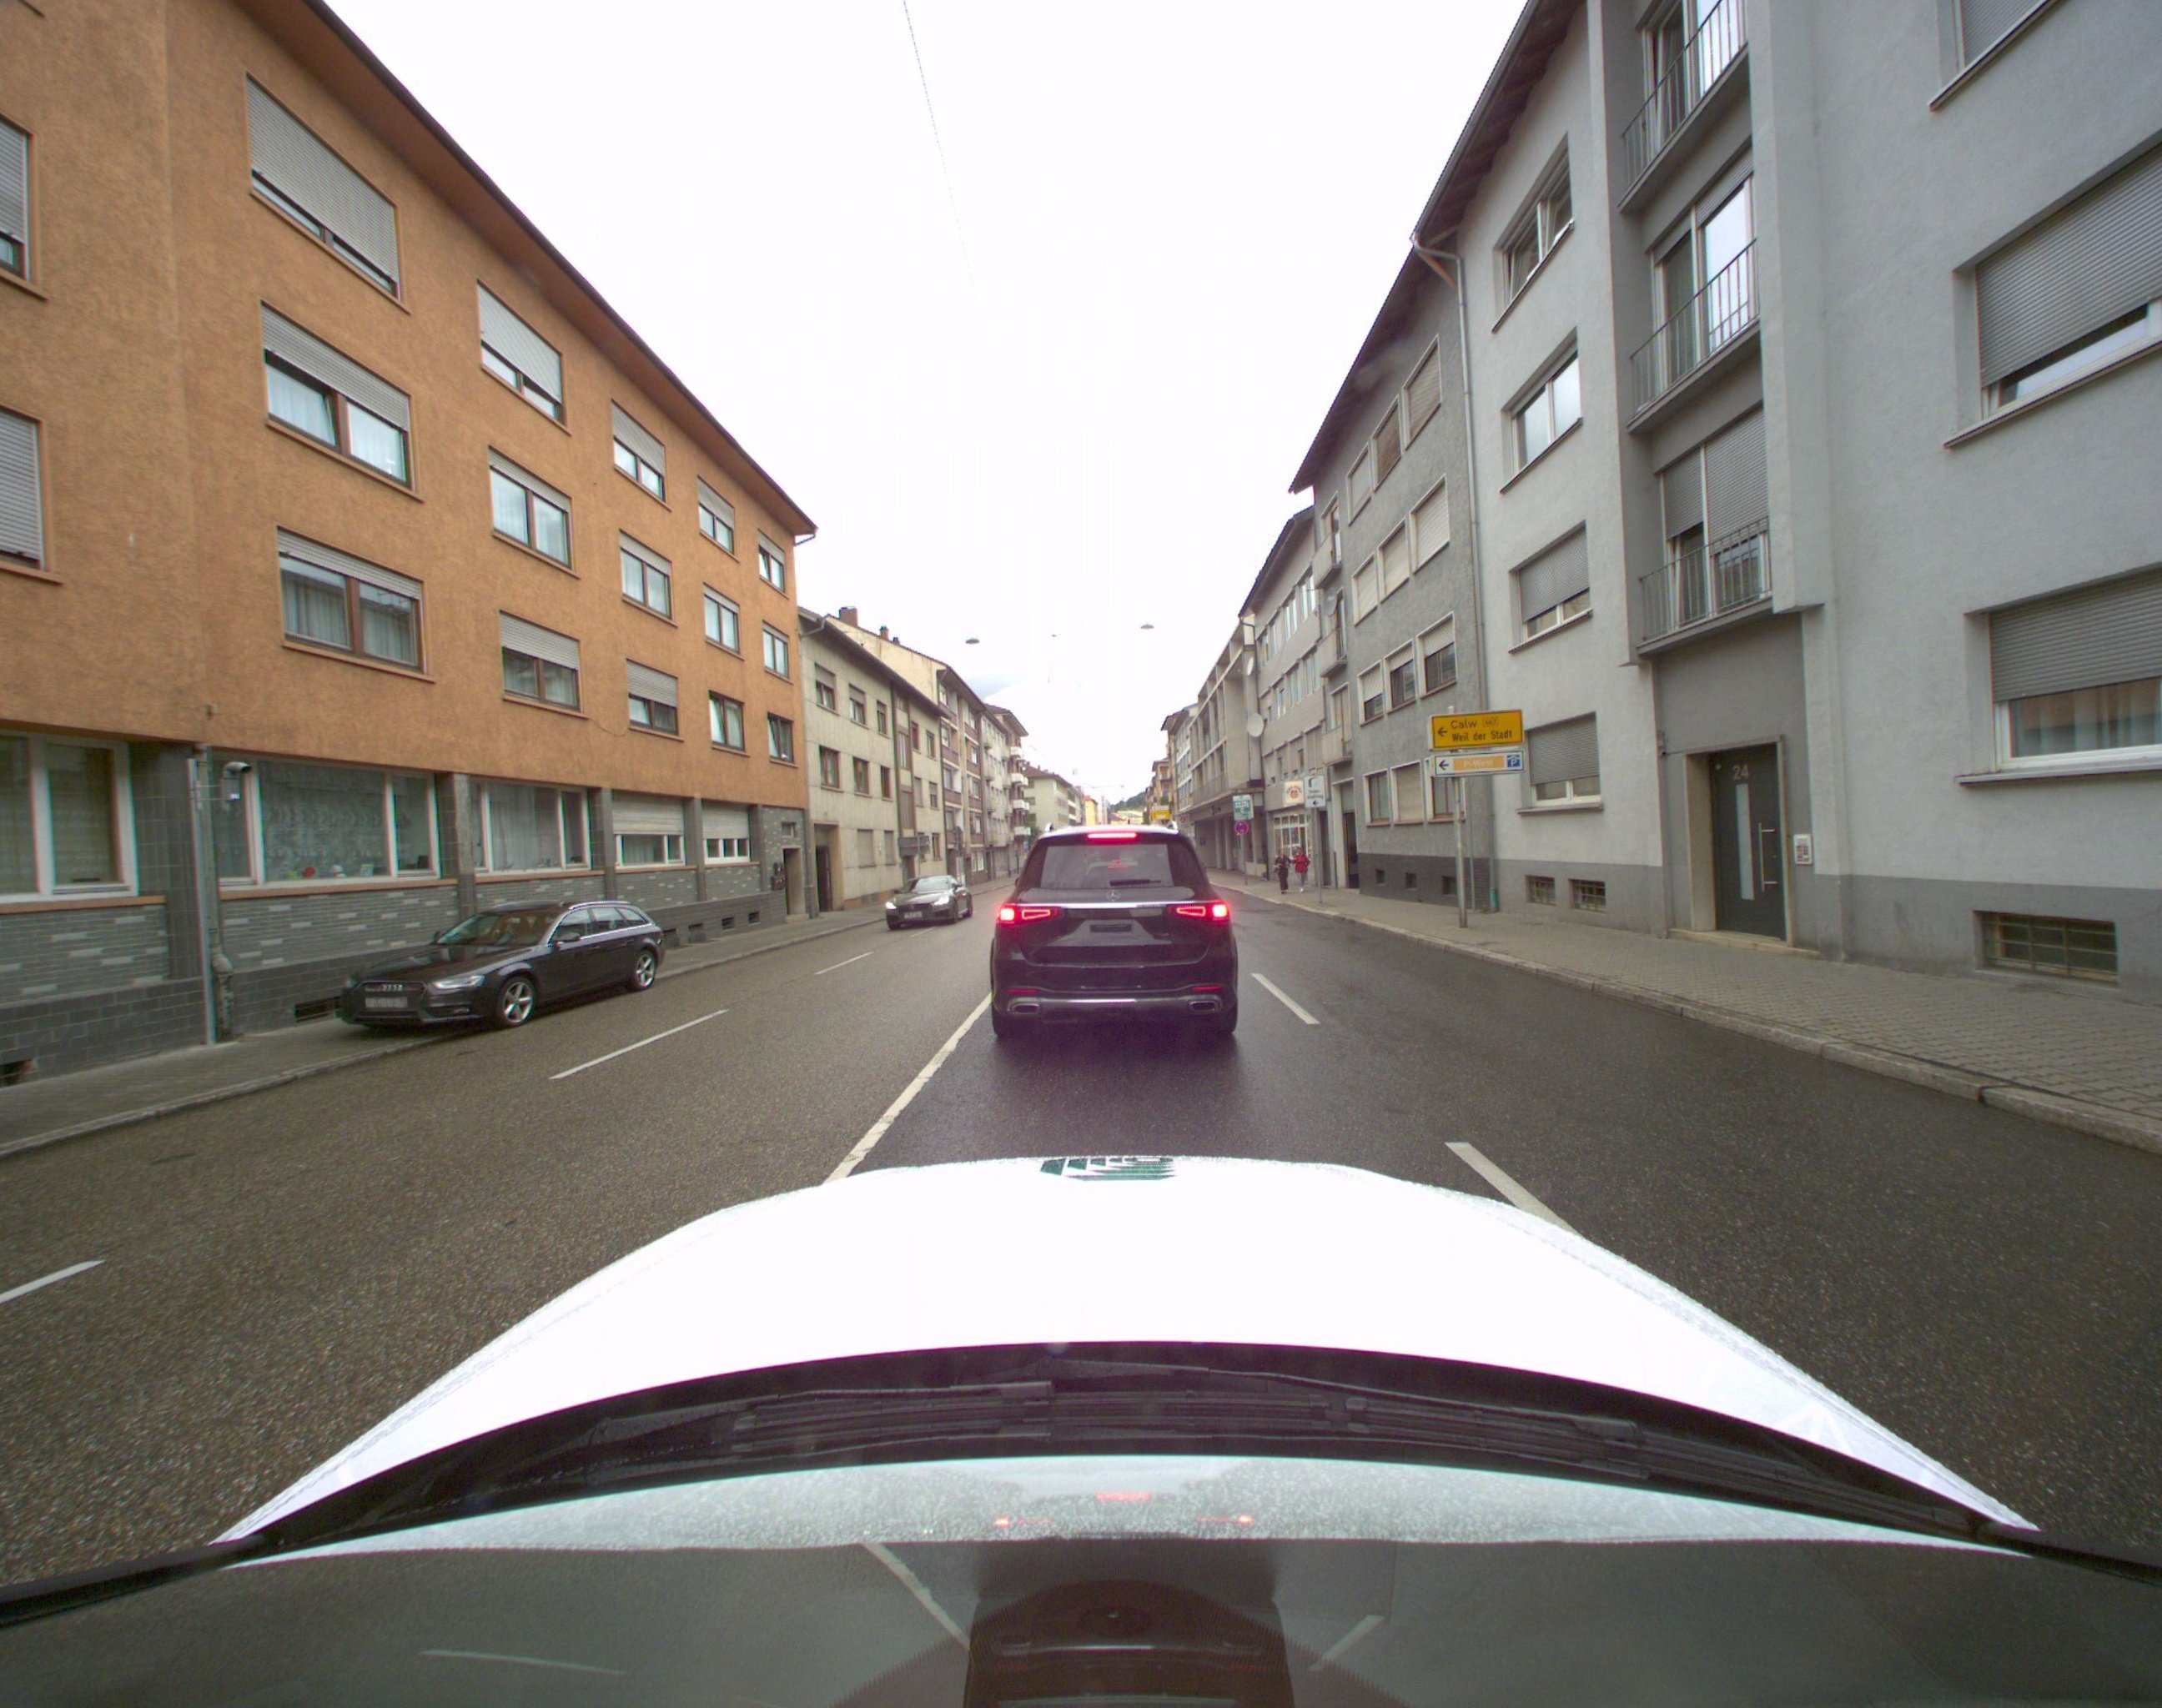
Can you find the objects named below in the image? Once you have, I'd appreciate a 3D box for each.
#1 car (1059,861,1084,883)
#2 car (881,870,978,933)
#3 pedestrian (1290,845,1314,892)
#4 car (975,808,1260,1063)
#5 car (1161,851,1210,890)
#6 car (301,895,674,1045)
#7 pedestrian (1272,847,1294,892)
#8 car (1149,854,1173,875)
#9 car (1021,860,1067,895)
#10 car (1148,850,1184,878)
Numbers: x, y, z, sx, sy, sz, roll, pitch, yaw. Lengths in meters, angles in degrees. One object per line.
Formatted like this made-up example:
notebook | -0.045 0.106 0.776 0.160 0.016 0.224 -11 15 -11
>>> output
car | -0.762 1.440 67.870 1.727 1.575 4.012 -6 0 1
car | -4.166 1.266 22.953 1.761 1.346 3.890 -6 0 2
pedestrian | 7.677 0.491 28.308 0.558 1.578 0.526 -5 0 1
car | 0.306 0.586 7.813 2.018 1.806 4.001 0 0 1
car | 4.610 0.703 36.546 1.760 1.580 4.002 -2 0 2
car | -7.736 1.408 11.325 1.789 1.438 4.528 0 0 1
pedestrian | 7.060 0.542 28.419 0.504 1.500 0.562 -5 0 1
car | 6.374 0.798 65.244 1.800 1.606 4.216 -1 0 4
car | -1.680 1.070 38.111 1.718 1.390 4.341 -4 0 2
car | 5.618 0.652 54.307 1.933 1.775 4.747 -1 0 1
